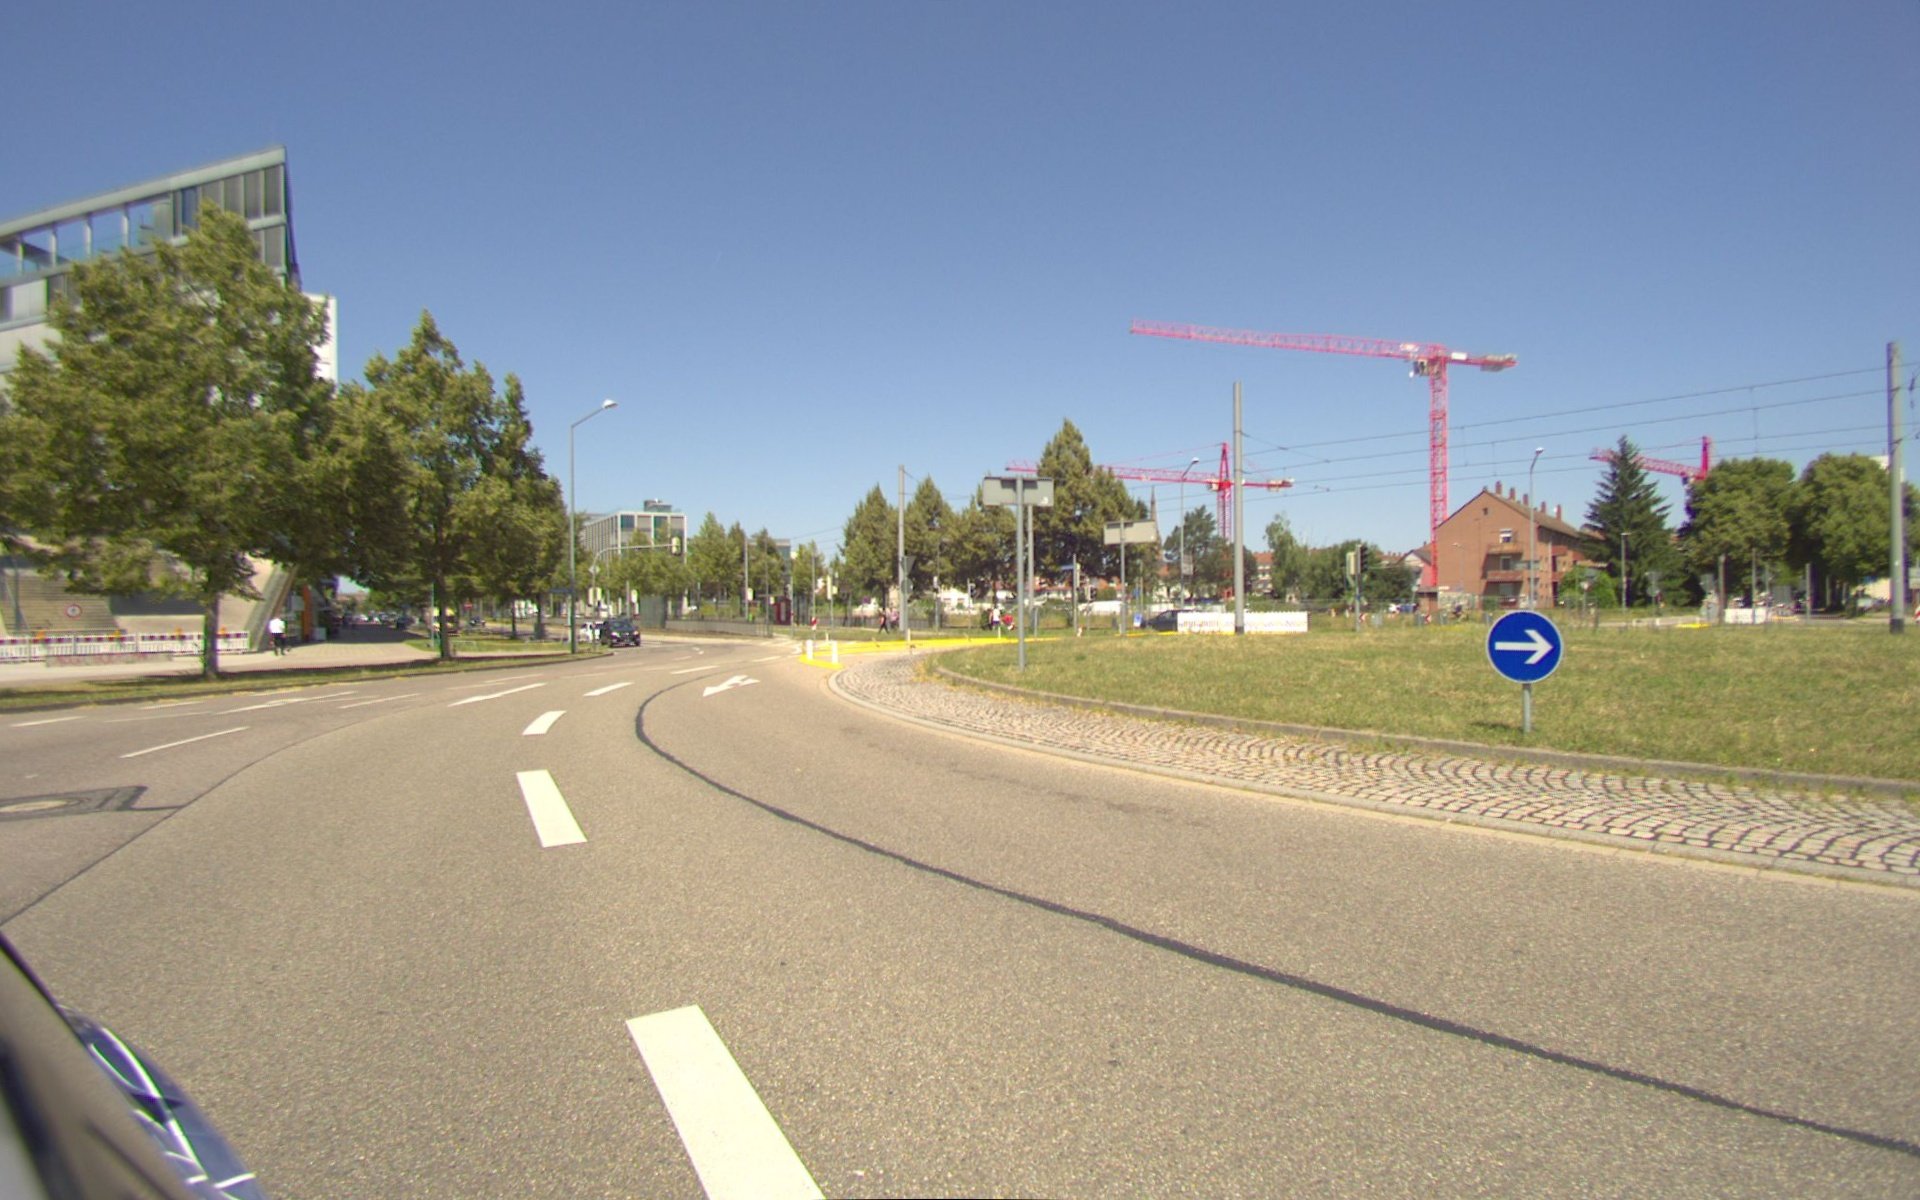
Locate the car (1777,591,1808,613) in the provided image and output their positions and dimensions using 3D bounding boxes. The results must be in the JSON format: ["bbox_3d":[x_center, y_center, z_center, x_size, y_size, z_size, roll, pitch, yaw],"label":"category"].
[{"bbox_3d":[80.768,0.198,98.160,2.001,2.029,3.941,1,0,45],"label":"car"}]

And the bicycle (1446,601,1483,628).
[{"bbox_3d":[32.248,0.927,64.693,2.071,1.697,0.556,1,0,22],"label":"bicycle"}]

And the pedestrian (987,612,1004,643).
[{"bbox_3d":[2.211,1.707,63.476,0.800,1.913,0.734,0,0,-20],"label":"pedestrian"}]

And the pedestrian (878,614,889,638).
[{"bbox_3d":[-4.610,1.559,61.138,0.587,1.417,0.545,-1,-1,-13],"label":"pedestrian"}]

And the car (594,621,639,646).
[{"bbox_3d":[-19.514,1.872,57.440,1.711,1.221,3.577,0,0,-30],"label":"car"}]

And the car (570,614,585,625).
[{"bbox_3d":[-73.605,3.659,194.763,1.966,2.029,4.012,0,0,-31],"label":"car"}]

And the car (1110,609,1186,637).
[{"bbox_3d":[10.967,1.312,58.961,3.981,1.475,1.981,1,0,28],"label":"car"}]

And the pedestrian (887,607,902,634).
[{"bbox_3d":[-4.076,1.260,62.935,0.748,1.652,0.784,0,0,-20],"label":"pedestrian"}]

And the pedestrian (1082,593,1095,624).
[{"bbox_3d":[8.499,0.546,66.976,0.585,2.029,0.605,0,0,-32],"label":"pedestrian"}]

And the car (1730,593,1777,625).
[{"bbox_3d":[52.989,0.578,67.543,2.001,2.029,3.941,1,0,45],"label":"car"}]

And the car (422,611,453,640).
[{"bbox_3d":[-47.219,2.277,91.381,1.967,2.527,4.010,0,-1,-35],"label":"car"}]

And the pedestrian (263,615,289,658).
[{"bbox_3d":[-30.927,1.642,45.773,0.820,1.883,0.613,0,0,-18],"label":"pedestrian"}]

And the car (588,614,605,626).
[{"bbox_3d":[-63.255,3.520,176.118,1.966,2.029,3.912,0,0,-34],"label":"car"}]

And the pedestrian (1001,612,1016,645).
[{"bbox_3d":[3.065,1.773,63.798,0.733,2.029,0.734,0,0,-20],"label":"pedestrian"}]

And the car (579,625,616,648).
[{"bbox_3d":[-22.190,2.219,61.878,1.550,1.234,3.333,0,0,-30],"label":"car"}]
